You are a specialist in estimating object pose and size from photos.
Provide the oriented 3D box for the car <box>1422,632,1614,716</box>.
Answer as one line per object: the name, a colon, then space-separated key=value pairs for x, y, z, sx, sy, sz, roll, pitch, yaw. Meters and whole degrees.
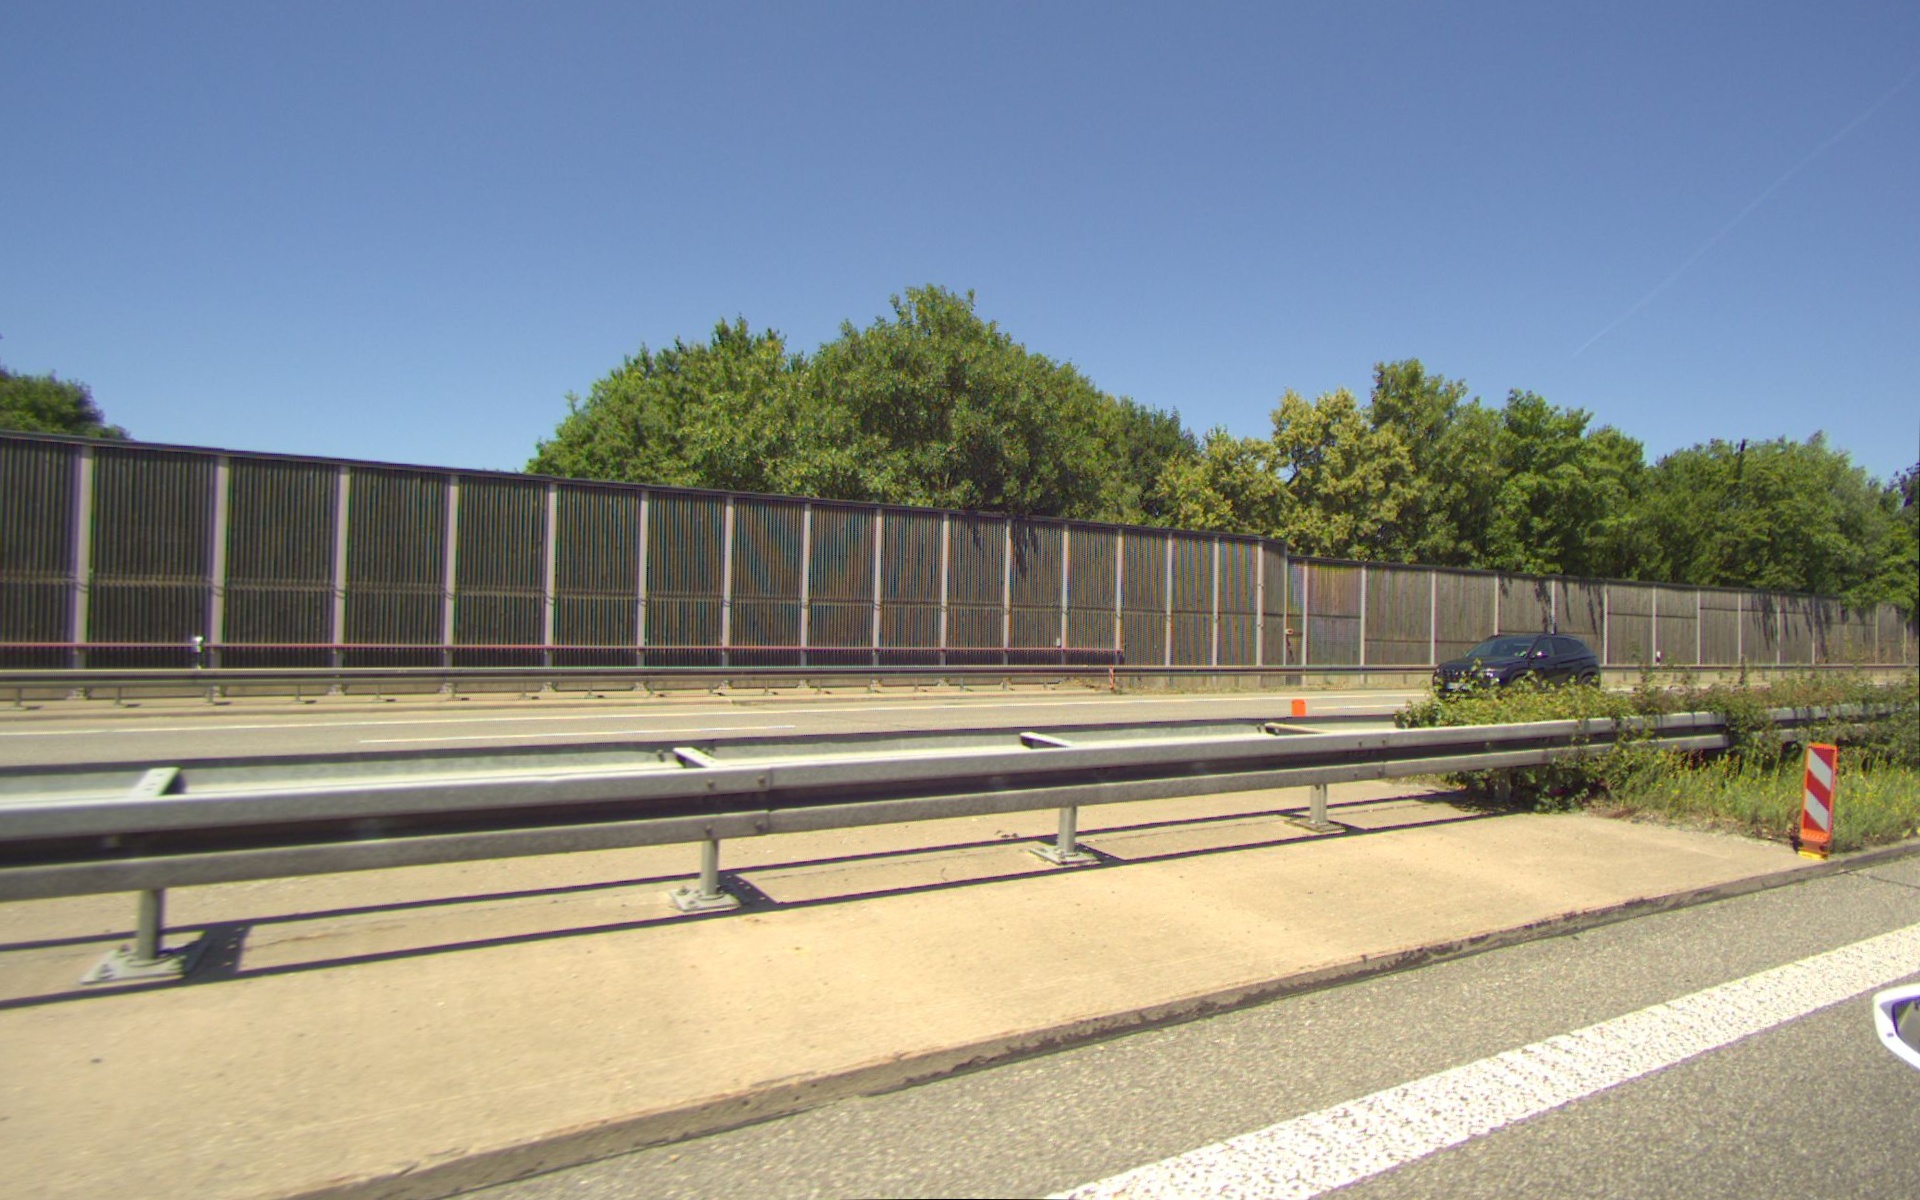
car: x=12.916 y=1.651 z=23.193 sx=4.496 sy=1.715 sz=1.871 roll=2 pitch=0 yaw=-31
